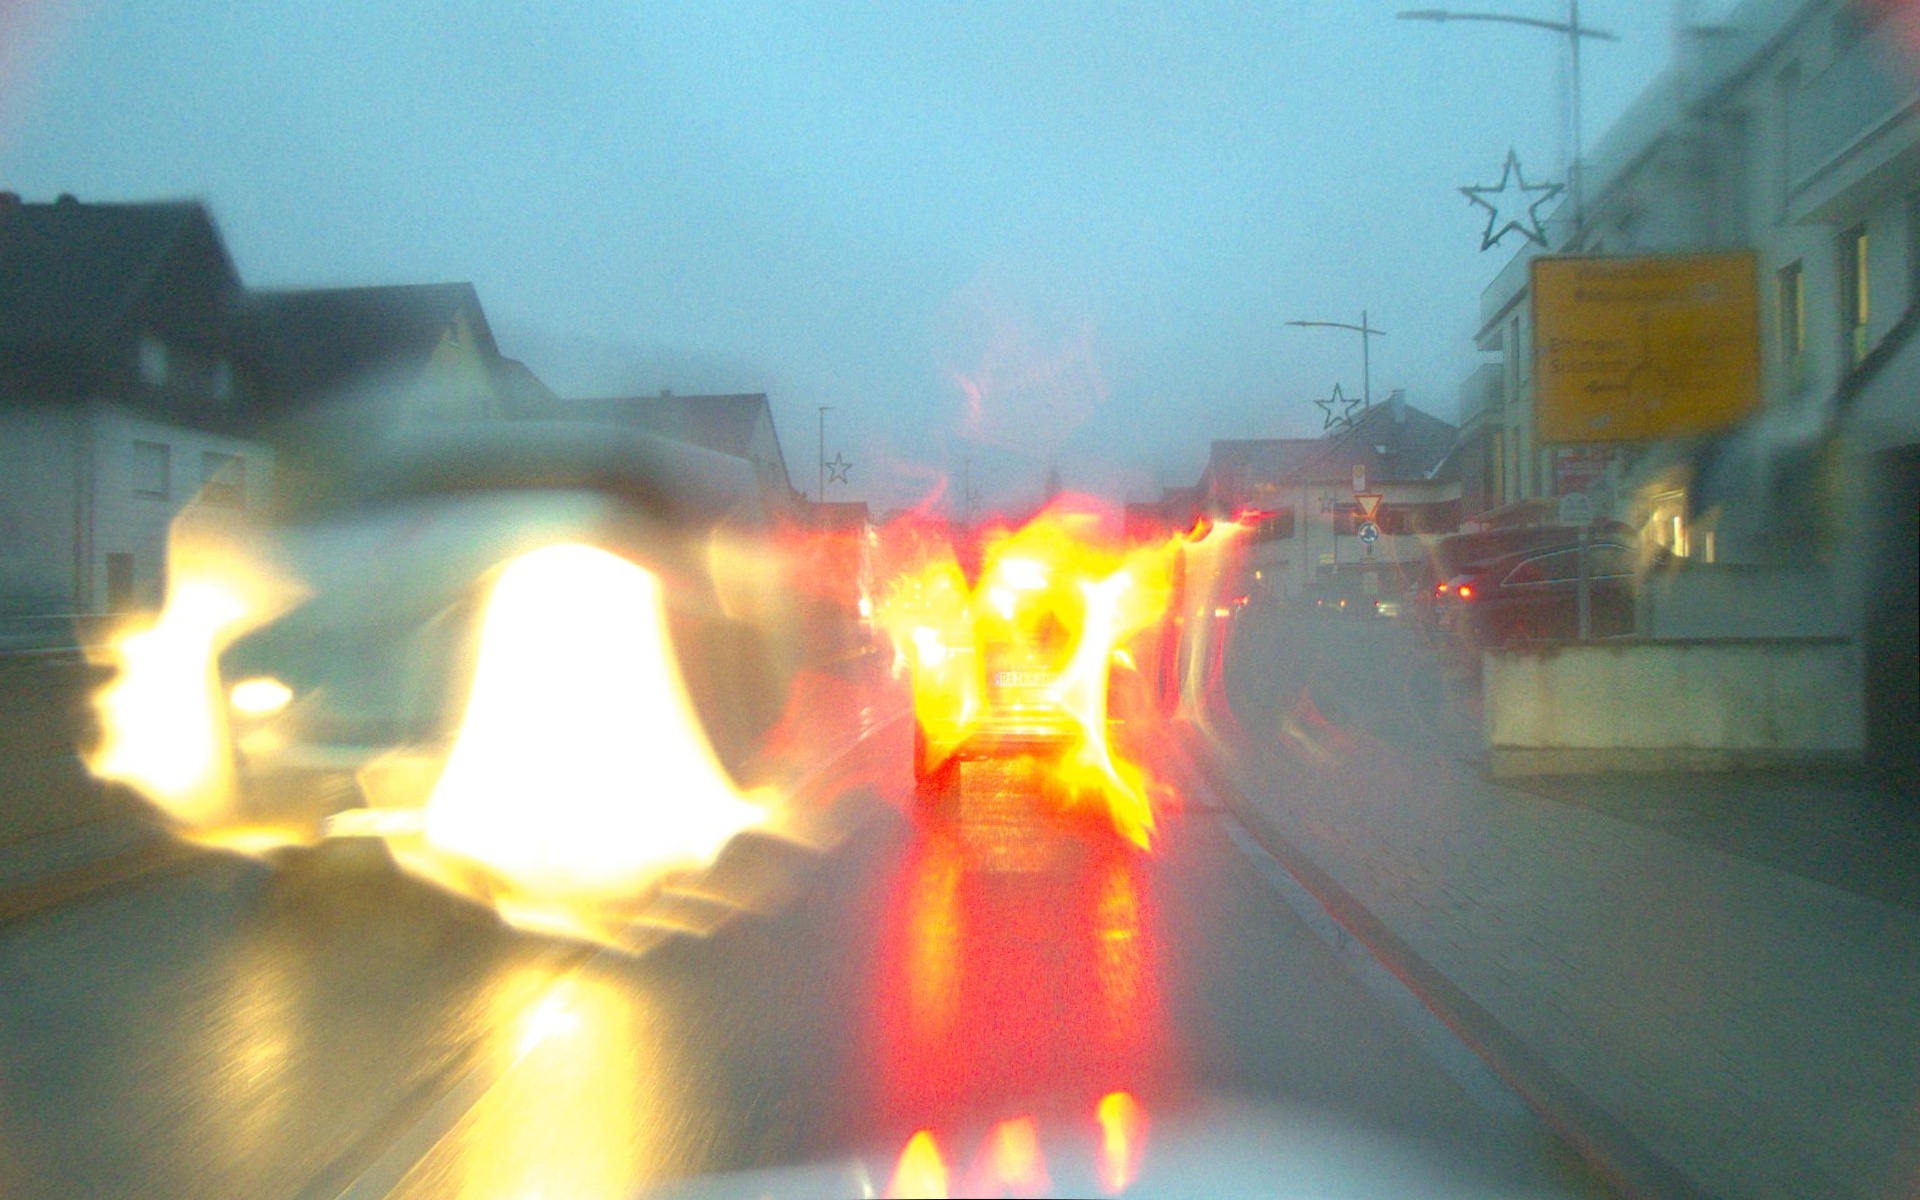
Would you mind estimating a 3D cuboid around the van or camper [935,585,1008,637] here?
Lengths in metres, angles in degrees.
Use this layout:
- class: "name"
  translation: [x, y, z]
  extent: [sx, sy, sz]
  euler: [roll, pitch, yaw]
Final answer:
- class: "van or camper"
  translation: [0.361, 0.290, 46.856]
  extent: [1.528, 1.379, 3.425]
  euler: [-1, 0, 10]

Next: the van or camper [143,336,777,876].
- class: "van or camper"
  translation: [-2.909, 0.013, 11.665]
  extent: [2.193, 2.715, 6.557]
  euler: [-1, 0, 3]

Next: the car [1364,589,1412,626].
- class: "car"
  translation: [18.727, 0.315, 72.318]
  extent: [1.533, 1.437, 3.601]
  euler: [-4, -1, 22]

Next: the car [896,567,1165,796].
- class: "car"
  translation: [0.618, 0.558, 14.149]
  extent: [1.923, 1.622, 4.315]
  euler: [1, 1, 3]

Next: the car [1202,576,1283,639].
- class: "car"
  translation: [10.022, 0.233, 58.459]
  extent: [2.112, 2.026, 4.502]
  euler: [-4, 0, 18]

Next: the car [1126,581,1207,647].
- class: "car"
  translation: [4.865, 0.297, 39.296]
  extent: [1.776, 1.436, 4.003]
  euler: [1, 1, 6]

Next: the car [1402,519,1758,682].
- class: "car"
  translation: [8.428, -0.001, 22.755]
  extent: [4.092, 1.667, 1.804]
  euler: [-7, 0, 1]

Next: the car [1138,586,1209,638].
- class: "car"
  translation: [6.191, 0.325, 47.736]
  extent: [1.951, 1.416, 4.003]
  euler: [0, 0, 8]

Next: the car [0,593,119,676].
- class: "car"
  translation: [-19.409, 0.677, 33.923]
  extent: [1.870, 1.590, 4.220]
  euler: [0, 1, 5]

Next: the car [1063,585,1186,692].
- class: "car"
  translation: [2.667, 0.551, 26.160]
  extent: [1.646, 1.478, 4.004]
  euler: [-2, 0, 9]

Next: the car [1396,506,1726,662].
- class: "car"
  translation: [9.444, -0.223, 26.329]
  extent: [4.467, 1.953, 1.951]
  euler: [-6, -1, 7]

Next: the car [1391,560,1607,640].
- class: "car"
  translation: [11.700, 0.005, 36.102]
  extent: [4.118, 1.485, 1.794]
  euler: [-3, 0, 3]
